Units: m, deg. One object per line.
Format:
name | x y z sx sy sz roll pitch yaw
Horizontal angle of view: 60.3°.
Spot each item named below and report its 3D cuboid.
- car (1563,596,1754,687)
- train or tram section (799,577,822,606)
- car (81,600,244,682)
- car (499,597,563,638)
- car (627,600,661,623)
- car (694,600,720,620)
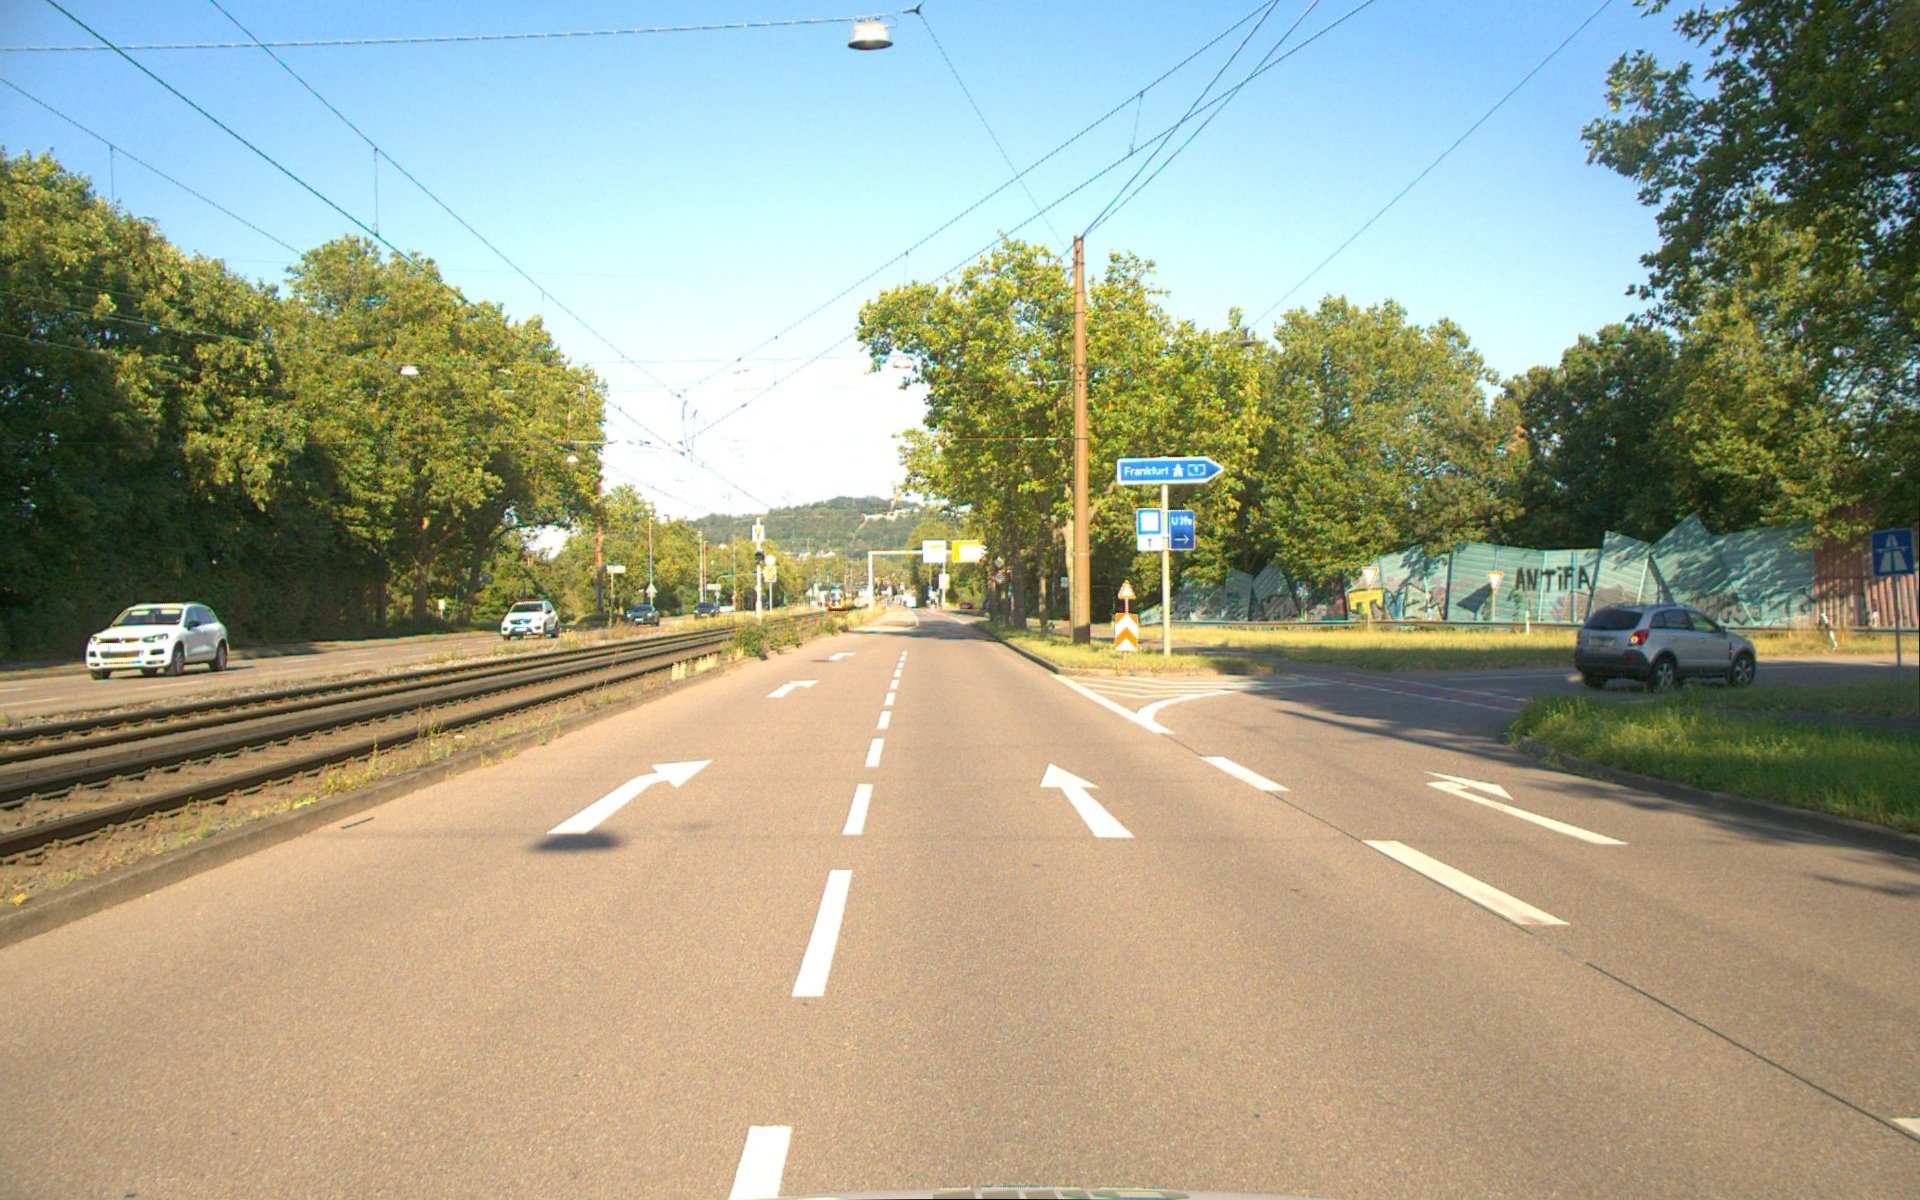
car | 14.557 0.840 34.452 3.810 1.804 1.796 1 0 -31
train or tram section | -21.533 -1.157 238.793 2.748 3.971 12.325 1 0 -3
car | -19.134 0.944 39.940 1.810 1.764 4.927 -3 0 -5
car | -19.911 0.814 76.915 1.924 1.737 4.940 -3 0 -4
car | -21.969 0.770 115.020 1.677 1.493 4.344 -3 0 -3
car | -23.430 0.907 153.138 1.861 1.724 4.937 -2 0 -4
